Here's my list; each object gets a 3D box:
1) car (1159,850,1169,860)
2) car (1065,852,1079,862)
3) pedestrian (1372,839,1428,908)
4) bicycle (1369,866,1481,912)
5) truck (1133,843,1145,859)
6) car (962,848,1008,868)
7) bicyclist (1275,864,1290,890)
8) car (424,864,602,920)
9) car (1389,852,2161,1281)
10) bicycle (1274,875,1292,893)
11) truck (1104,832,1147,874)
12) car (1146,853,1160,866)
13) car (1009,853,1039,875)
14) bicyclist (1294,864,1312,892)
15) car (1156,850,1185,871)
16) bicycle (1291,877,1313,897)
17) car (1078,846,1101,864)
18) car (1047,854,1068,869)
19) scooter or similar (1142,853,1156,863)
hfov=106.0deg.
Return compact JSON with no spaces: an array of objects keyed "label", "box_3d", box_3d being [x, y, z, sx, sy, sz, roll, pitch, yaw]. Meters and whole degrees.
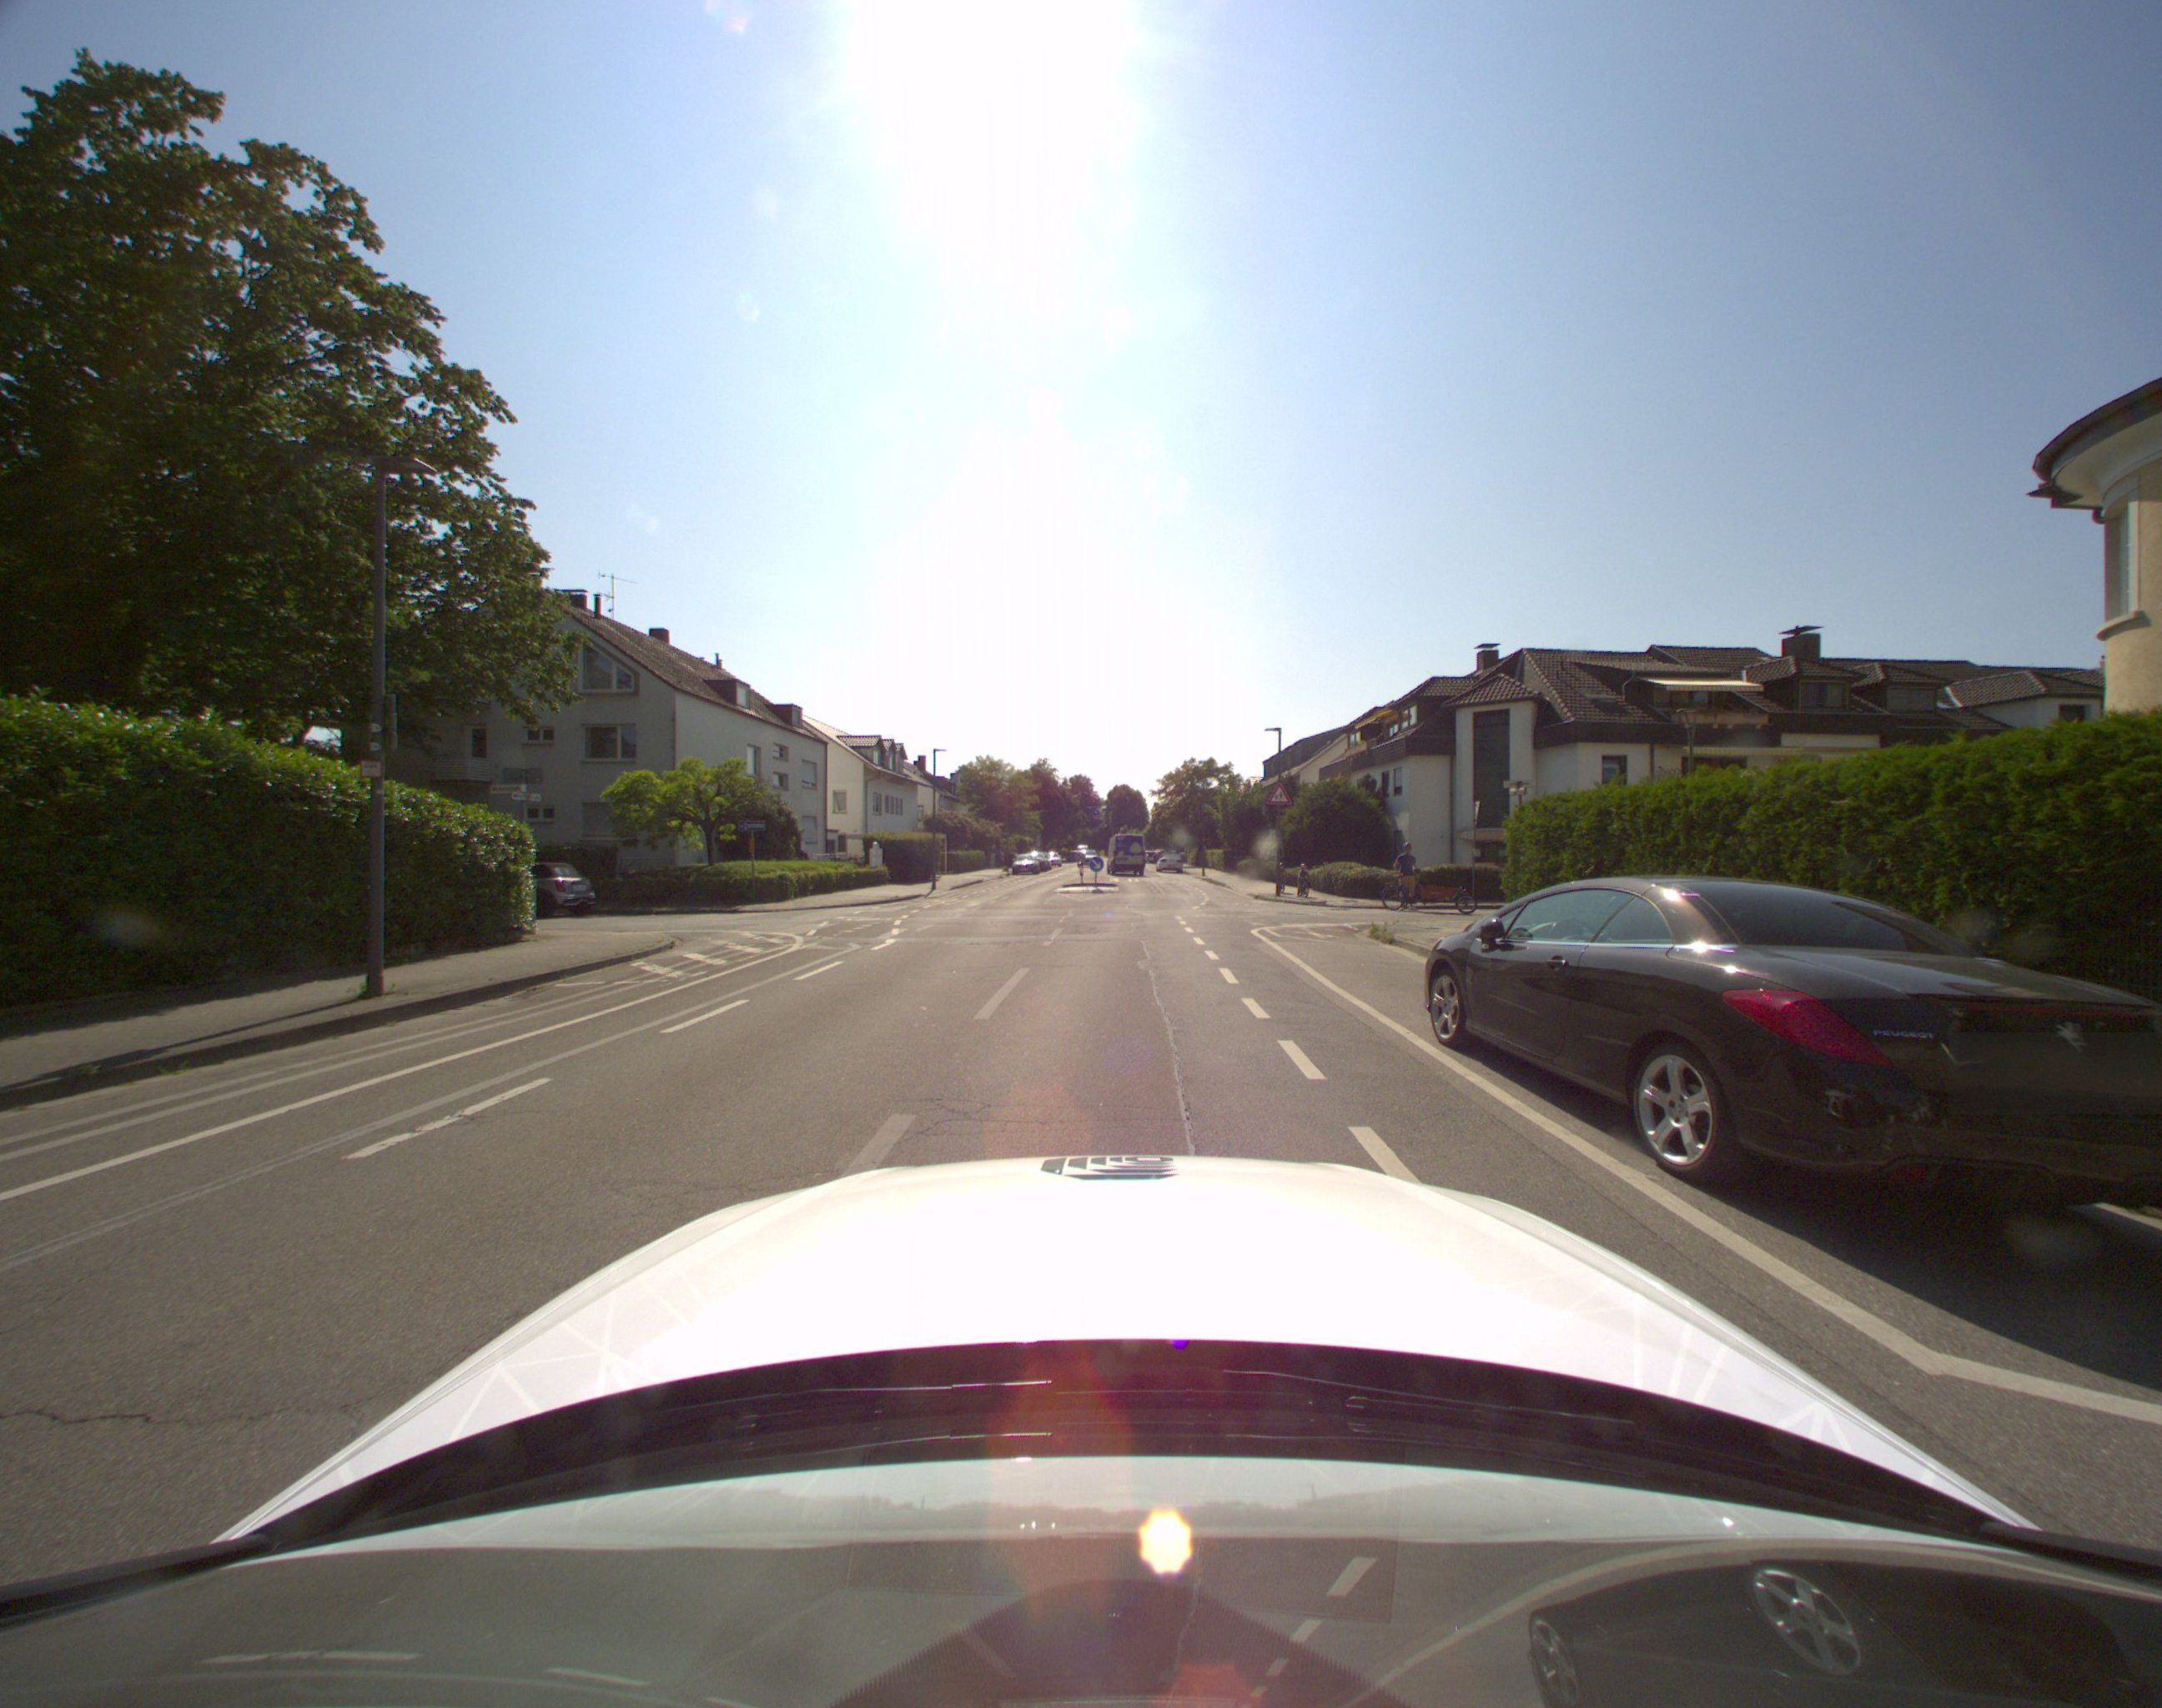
[{"label":"car","box_3d":[14.527,0.139,142.341,1.692,1.677,3.781,0,0,6]},{"label":"car","box_3d":[-1.256,0.390,114.214,1.774,1.460,4.088,-1,0,2]},{"label":"pedestrian","box_3d":[8.986,0.528,22.962,0.904,1.872,1.177,0,0,-30]},{"label":"bicycle","box_3d":[9.346,0.925,22.190,2.676,1.158,0.869,0,0,35]},{"label":"truck","box_3d":[11.432,-0.565,161.385,2.205,2.946,5.691,0,0,3]},{"label":"car","box_3d":[-8.925,0.360,76.088,3.970,1.759,2.002,0,0,2]},{"label":"bicyclist","box_3d":[7.399,0.842,29.883,0.397,0.933,0.608,0,0,0]},{"label":"car","box_3d":[-14.888,0.973,21.479,3.479,1.412,1.727,0,0,2]},{"label":"car","box_3d":[3.606,0.777,5.065,1.731,1.468,4.345,3,0,1]},{"label":"bicycle","box_3d":[7.412,1.088,29.934,0.400,0.599,1.151,0,0,0]},{"label":"truck","box_3d":[2.791,-0.038,52.124,2.267,2.571,4.387,0,0,-3]},{"label":"car","box_3d":[9.531,0.757,108.250,1.777,1.638,4.476,1,1,4]},{"label":"car","box_3d":[-3.949,0.652,57.014,1.780,1.440,4.154,-2,0,0]},{"label":"bicyclist","box_3d":[7.479,0.809,27.458,0.400,0.929,0.658,0,0,0]},{"label":"car","box_3d":[6.574,0.468,60.066,1.734,1.402,4.075,1,1,2]},{"label":"bicycle","box_3d":[7.459,1.101,27.482,0.400,0.599,1.173,0,0,-1]},{"label":"car","box_3d":[0.853,0.107,77.128,1.906,1.666,4.510,-2,0,4]},{"label":"car","box_3d":[-2.290,0.712,80.218,1.778,1.440,4.003,-1,0,2]},{"label":"scooter or similar","box_3d":[8.799,0.562,105.330,0.724,1.154,1.776,4,0,-43]}]
